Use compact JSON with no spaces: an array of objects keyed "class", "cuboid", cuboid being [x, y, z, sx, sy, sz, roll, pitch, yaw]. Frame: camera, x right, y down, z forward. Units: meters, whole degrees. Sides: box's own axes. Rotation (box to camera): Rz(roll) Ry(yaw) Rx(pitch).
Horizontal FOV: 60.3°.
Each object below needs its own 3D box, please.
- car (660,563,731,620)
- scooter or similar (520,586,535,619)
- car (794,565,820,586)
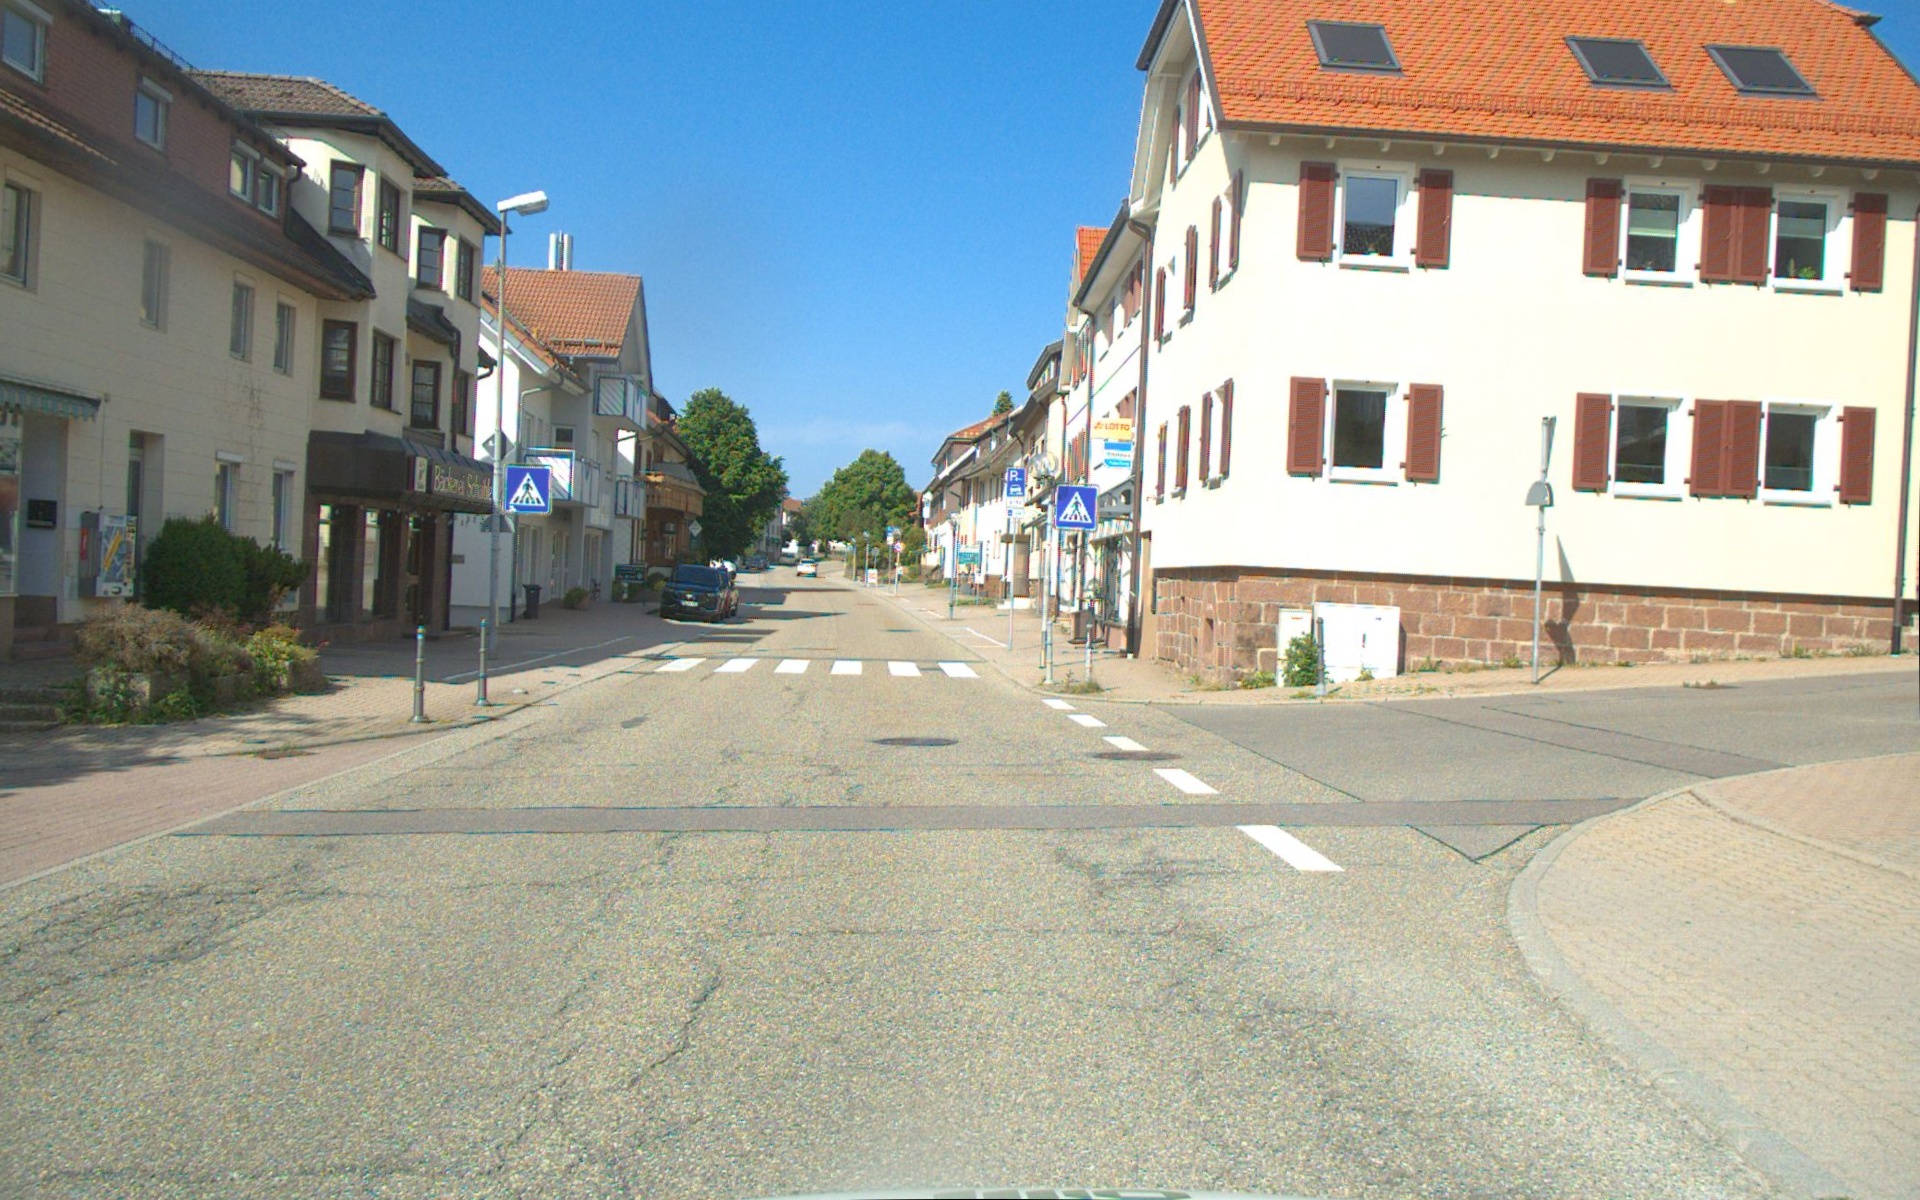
[{"class":"car","cuboid":[-8.192,-0.281,51.397,1.640,1.559,3.534,6,0,-3]},{"class":"scooter or similar","cuboid":[-11.902,0.064,45.532,0.345,0.905,0.394,0,0,-9]},{"class":"car","cuboid":[-14.993,-2.393,162.360,2.447,2.049,4.300,-1,0,-5]}]
